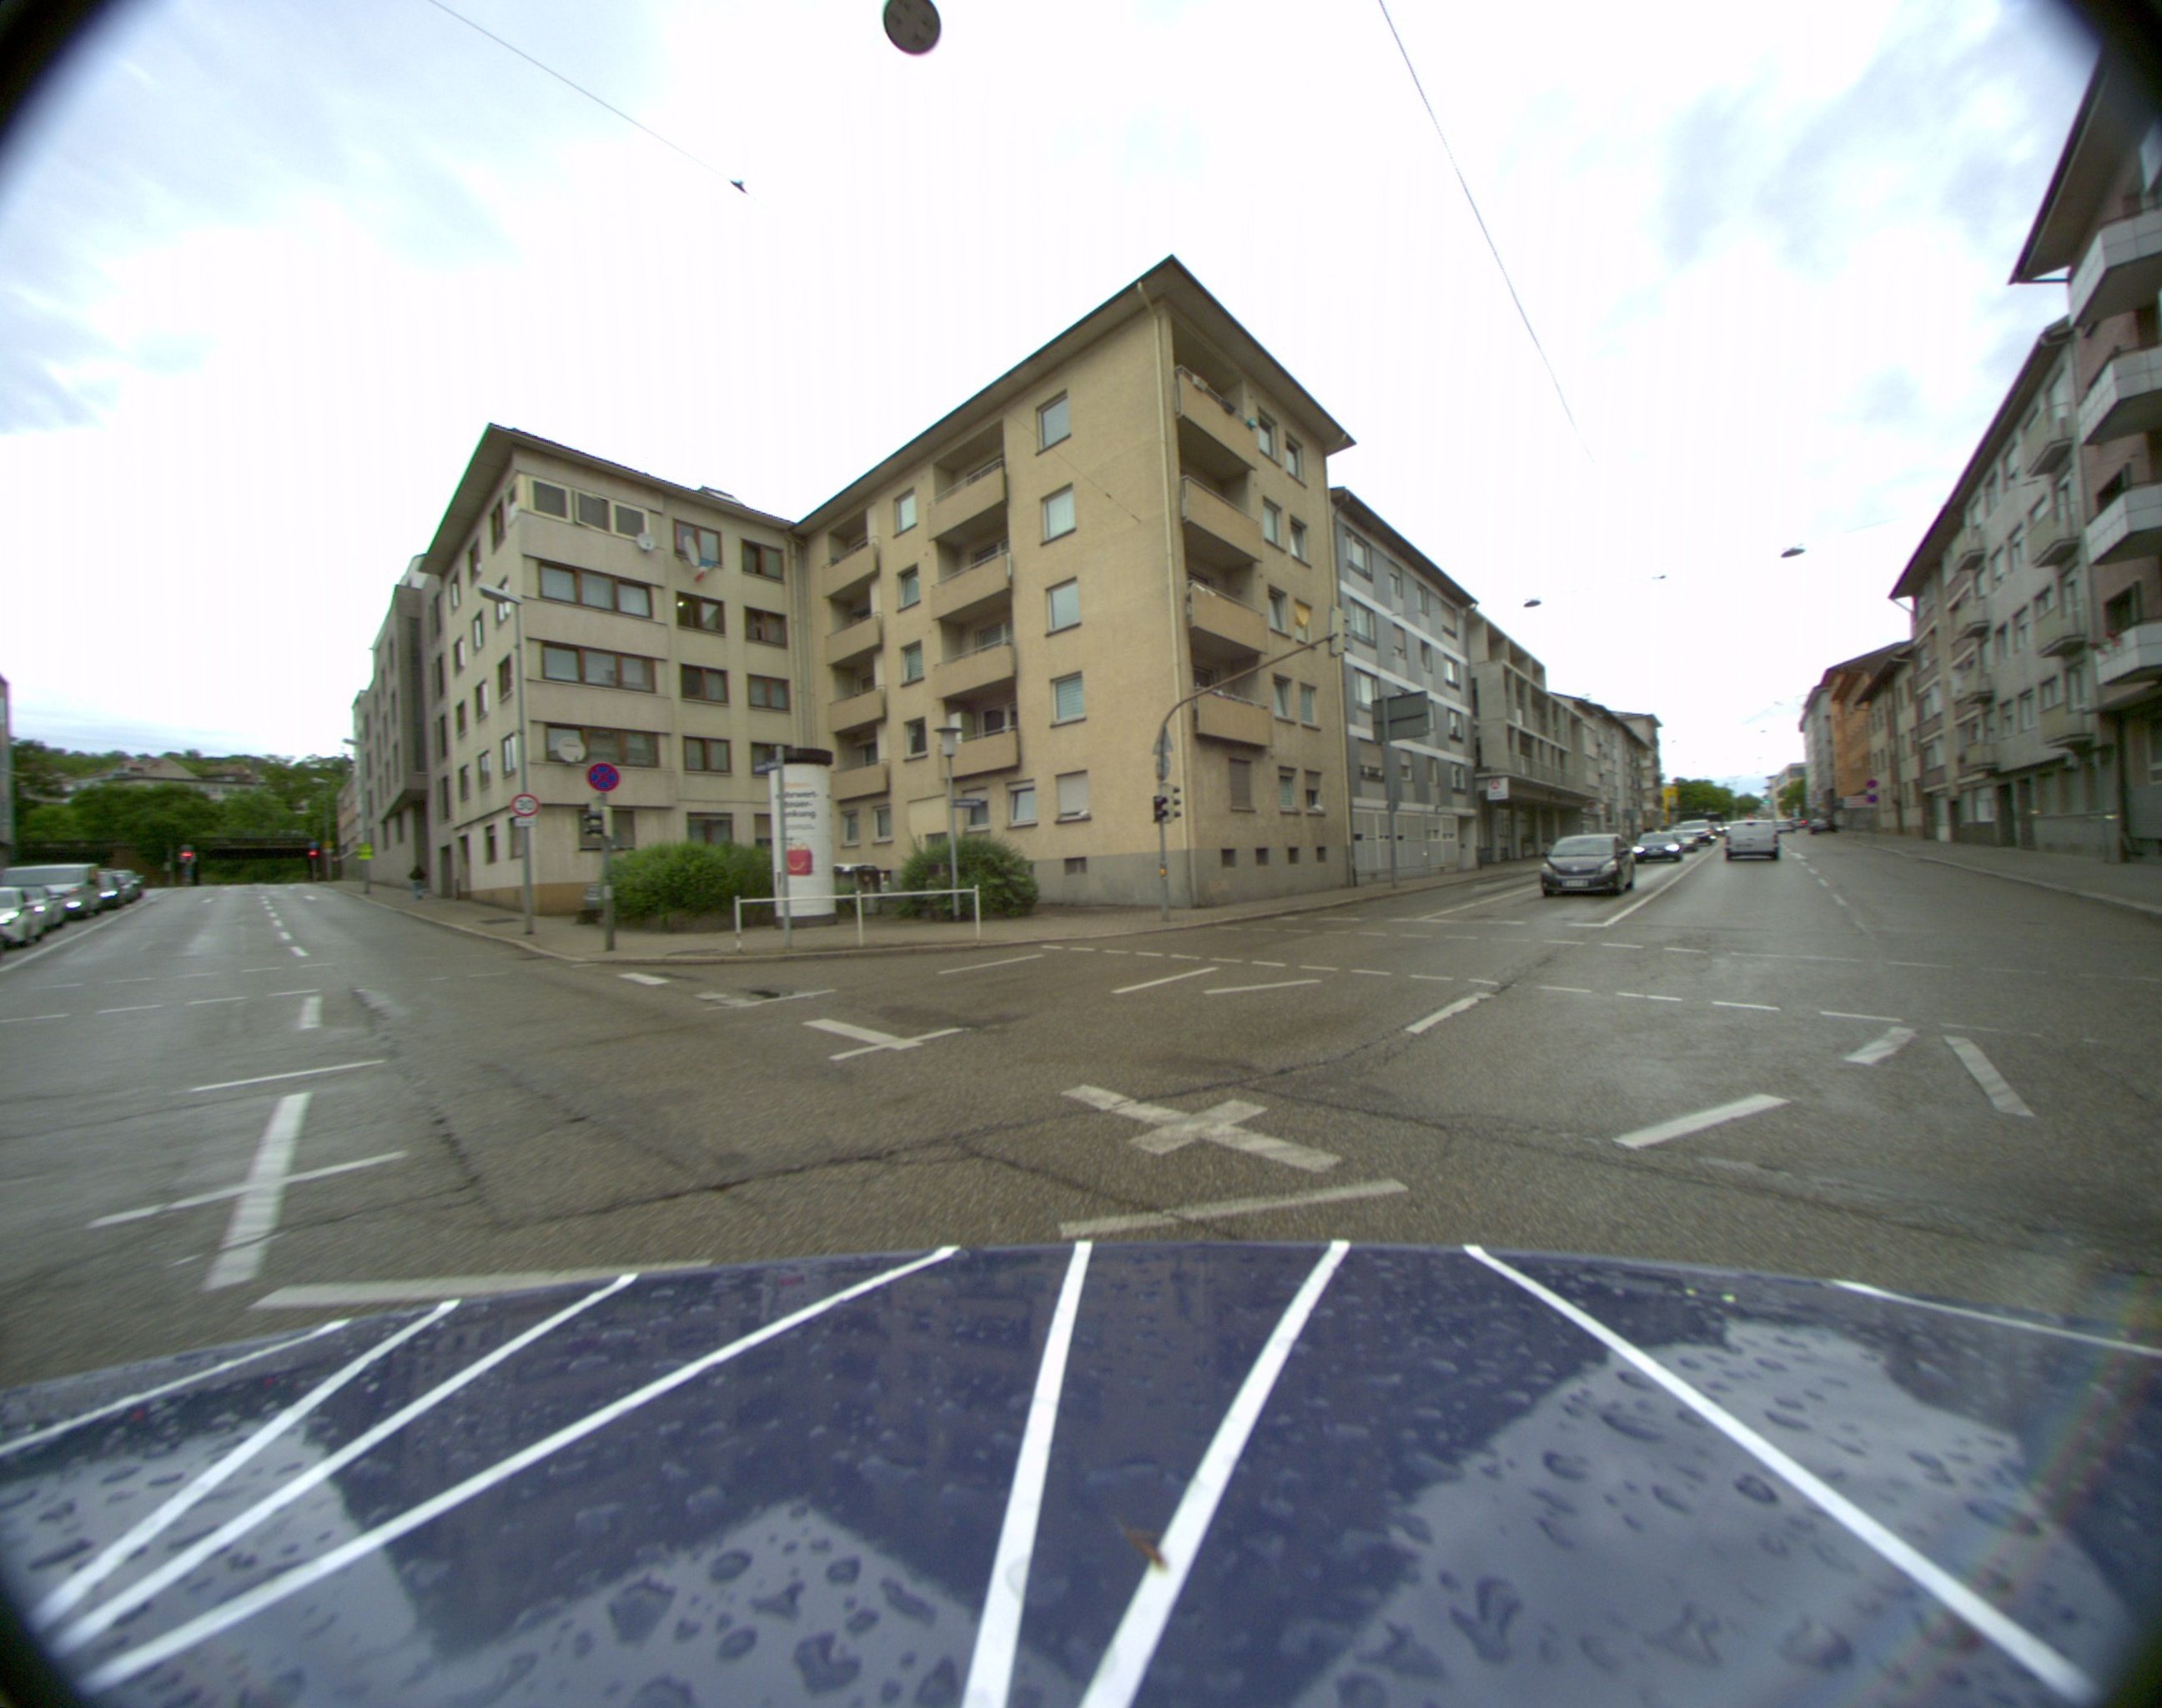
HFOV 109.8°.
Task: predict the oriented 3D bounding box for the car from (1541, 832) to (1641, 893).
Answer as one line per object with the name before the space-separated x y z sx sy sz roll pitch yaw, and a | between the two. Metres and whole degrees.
car | 13.980 0.196 20.737 1.728 1.472 4.080 -3 -1 41

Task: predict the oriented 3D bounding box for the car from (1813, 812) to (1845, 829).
car | 72.263 -3.259 73.427 1.704 1.446 3.812 -5 0 39

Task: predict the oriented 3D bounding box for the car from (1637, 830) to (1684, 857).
car | 28.037 -0.541 36.839 1.689 1.142 4.007 -1 2 36

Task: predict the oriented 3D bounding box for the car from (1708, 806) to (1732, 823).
car | 72.531 -4.473 86.211 1.848 1.652 3.685 -5 0 43

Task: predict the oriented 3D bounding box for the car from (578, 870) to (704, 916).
car | -14.509 1.258 25.158 1.378 1.185 3.269 -4 1 42

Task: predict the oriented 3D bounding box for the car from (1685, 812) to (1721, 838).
car | 46.546 -2.189 56.843 1.719 1.652 3.685 -5 0 43

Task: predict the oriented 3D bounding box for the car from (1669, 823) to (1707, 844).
car | 38.045 -1.292 47.602 1.544 1.062 3.101 -5 0 44

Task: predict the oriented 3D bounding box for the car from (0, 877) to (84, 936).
car | -31.168 1.507 22.257 3.989 1.545 1.853 -1 2 44

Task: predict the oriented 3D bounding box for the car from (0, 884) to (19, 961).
car | -22.297 1.420 14.464 3.989 1.545 1.844 -1 2 43

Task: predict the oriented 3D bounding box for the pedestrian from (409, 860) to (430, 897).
pedestrian | -31.782 1.171 36.499 0.502 1.690 0.537 -4 1 38

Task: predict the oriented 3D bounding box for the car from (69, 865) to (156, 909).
car | -46.207 1.615 36.364 4.842 1.848 1.919 -4 1 44

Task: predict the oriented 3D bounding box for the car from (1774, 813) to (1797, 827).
car | 79.101 -3.845 85.353 1.728 1.453 4.079 0 3 41

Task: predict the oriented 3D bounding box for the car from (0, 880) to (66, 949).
car | -26.825 1.473 18.649 3.989 1.545 1.853 -1 2 42

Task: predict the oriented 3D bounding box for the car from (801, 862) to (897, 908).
car | -8.493 1.090 27.772 3.315 1.466 1.769 0 3 40

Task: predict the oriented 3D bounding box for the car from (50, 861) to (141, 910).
car | -41.650 1.346 32.214 4.338 1.848 1.730 -4 1 44

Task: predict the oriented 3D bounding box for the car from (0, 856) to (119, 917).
car | -36.561 1.177 27.235 4.842 1.904 1.947 -4 1 44

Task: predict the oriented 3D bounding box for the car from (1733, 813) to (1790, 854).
car | 30.796 -0.961 34.499 1.806 1.705 4.555 1 3 40
